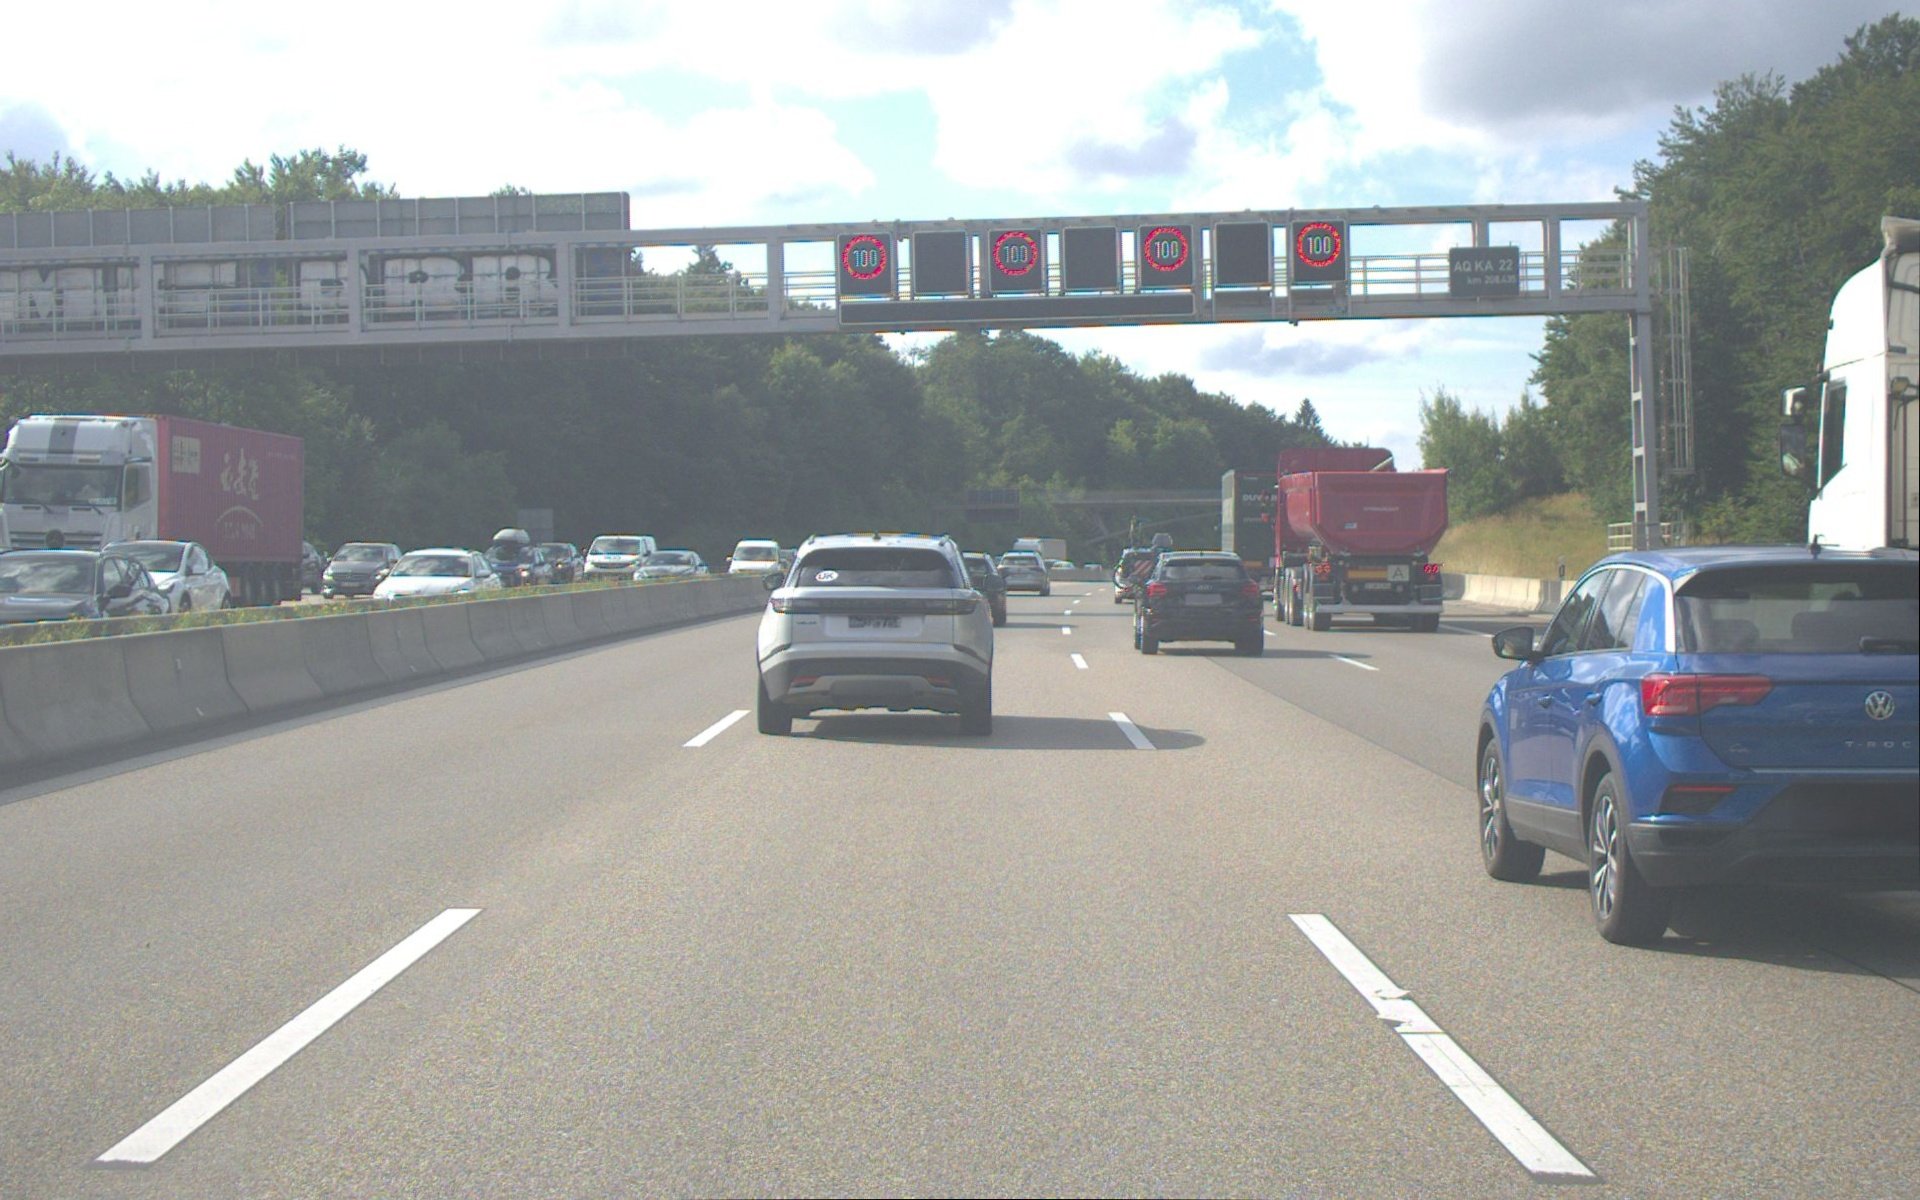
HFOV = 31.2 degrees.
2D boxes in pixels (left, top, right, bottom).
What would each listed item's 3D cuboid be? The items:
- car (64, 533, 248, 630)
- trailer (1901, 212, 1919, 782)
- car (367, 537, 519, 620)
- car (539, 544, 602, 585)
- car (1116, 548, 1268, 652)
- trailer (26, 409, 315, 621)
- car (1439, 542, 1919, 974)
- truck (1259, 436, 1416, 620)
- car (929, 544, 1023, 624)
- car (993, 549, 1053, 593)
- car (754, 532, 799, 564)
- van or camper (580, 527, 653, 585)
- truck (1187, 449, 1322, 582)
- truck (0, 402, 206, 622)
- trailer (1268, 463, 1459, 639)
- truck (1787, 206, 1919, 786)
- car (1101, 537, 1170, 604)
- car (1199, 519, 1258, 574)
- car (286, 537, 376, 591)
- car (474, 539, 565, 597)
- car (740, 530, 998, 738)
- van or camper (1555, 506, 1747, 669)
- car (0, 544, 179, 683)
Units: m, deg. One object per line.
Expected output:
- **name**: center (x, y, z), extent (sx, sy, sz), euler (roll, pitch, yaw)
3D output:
- **car**: center (-13.214, -0.333, 56.809), extent (1.857, 1.520, 4.995), euler (1, 1, 0)
- **trailer**: center (7.621, -0.589, 17.158), extent (2.649, 3.754, 11.860), euler (0, 1, 0)
- **car**: center (-9.374, -0.415, 62.659), extent (1.770, 1.437, 4.850), euler (1, 1, 3)
- **car**: center (-13.711, -1.264, 121.227), extent (1.638, 1.411, 4.000), euler (1, 1, 2)
- **car**: center (3.397, -0.032, 51.041), extent (1.822, 1.452, 4.000), euler (1, 1, -2)
- **trailer**: center (-16.635, -1.761, 73.632), extent (2.739, 4.092, 13.416), euler (1, 1, 2)
- **car**: center (3.258, 0.550, 14.423), extent (1.773, 1.525, 4.458), euler (0, 0, -1)
- **truck**: center (7.947, -1.522, 72.955), extent (2.710, 3.706, 5.817), euler (1, 1, 1)
- **car**: center (0.328, -0.350, 69.127), extent (1.822, 1.541, 4.000), euler (1, 1, 0)
- **car**: center (2.107, -0.964, 114.729), extent (1.822, 1.452, 4.000), euler (1, 0, 3)
- **car**: center (-9.457, -2.682, 177.371), extent (1.666, 1.634, 4.478), euler (1, 1, 5)
- **van or camper**: center (-11.164, -1.439, 112.023), extent (1.862, 1.844, 5.155), euler (1, 1, 0)
- **truck**: center (9.127, -2.592, 107.697), extent (3.118, 3.921, 10.412), euler (1, 1, -1)
- **truck**: center (-16.807, -1.685, 67.118), extent (2.739, 4.092, 5.764), euler (1, 1, 2)
- **trailer**: center (7.882, -1.002, 68.343), extent (2.710, 3.220, 9.733), euler (1, 1, 1)
- **truck**: center (7.633, -0.699, 23.227), extent (2.649, 3.810, 6.082), euler (0, 1, 0)
- **car**: center (4.968, -0.855, 97.716), extent (1.894, 1.850, 4.100), euler (1, 1, 3)
- **car**: center (9.366, -1.868, 120.150), extent (1.894, 1.850, 4.100), euler (1, 1, 3)
- **car**: center (-17.072, -0.993, 93.439), extent (1.637, 1.411, 4.000), euler (1, 1, 1)
- **car**: center (-12.040, -0.891, 94.202), extent (1.698, 1.523, 4.684), euler (1, 1, 2)
- **car**: center (-0.772, 0.220, 29.657), extent (2.006, 1.611, 5.301), euler (1, 1, -1)
- **van or camper**: center (10.204, -0.219, 51.086), extent (1.822, 2.299, 4.939), euler (0, 1, 0)
- **car**: center (-9.873, 0.098, 36.770), extent (1.993, 1.357, 4.620), euler (1, 1, 0)
